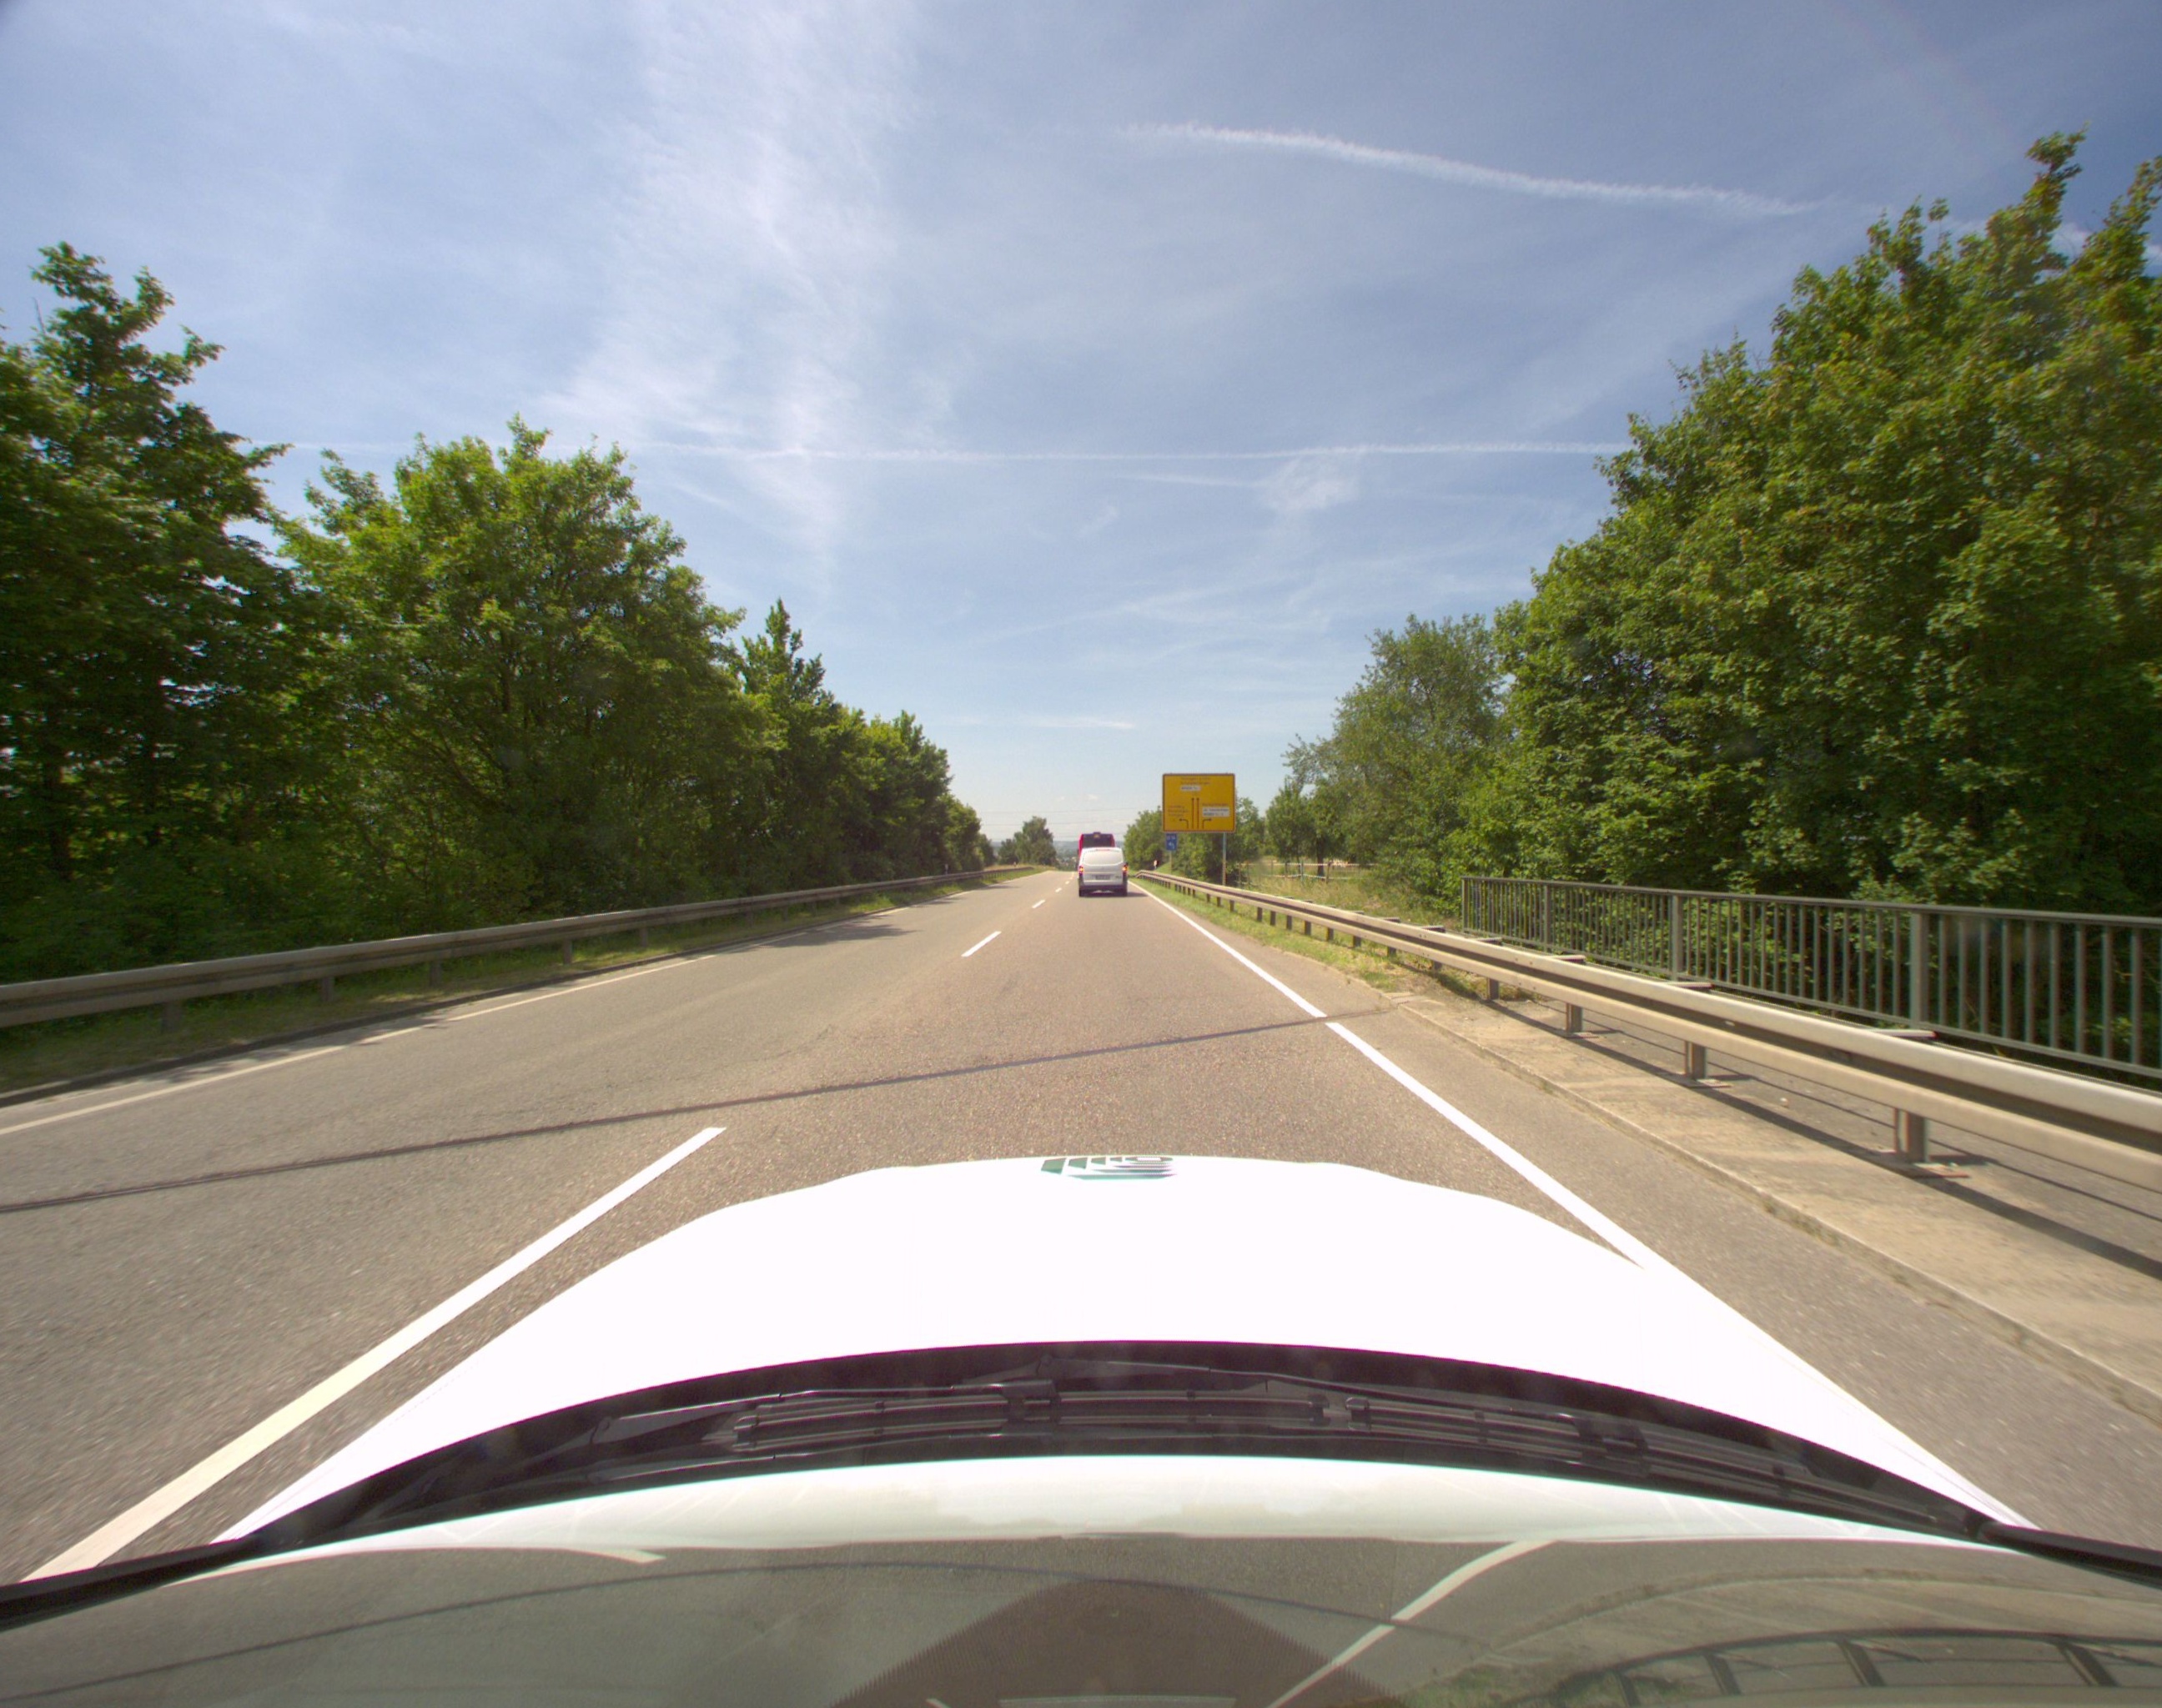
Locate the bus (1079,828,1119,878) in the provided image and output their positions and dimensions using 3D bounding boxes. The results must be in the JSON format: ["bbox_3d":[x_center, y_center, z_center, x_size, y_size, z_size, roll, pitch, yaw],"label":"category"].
[{"bbox_3d":[1.256,-0.112,62.588,2.738,3.353,13.220,-1,0,0],"label":"bus"}]

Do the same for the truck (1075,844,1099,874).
[{"bbox_3d":[0.827,0.671,128.206,3.477,4.423,14.898,-1,0,0],"label":"truck"}]

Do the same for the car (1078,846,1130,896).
[{"bbox_3d":[0.926,0.615,32.454,1.916,1.889,4.002,0,1,2],"label":"car"}]
